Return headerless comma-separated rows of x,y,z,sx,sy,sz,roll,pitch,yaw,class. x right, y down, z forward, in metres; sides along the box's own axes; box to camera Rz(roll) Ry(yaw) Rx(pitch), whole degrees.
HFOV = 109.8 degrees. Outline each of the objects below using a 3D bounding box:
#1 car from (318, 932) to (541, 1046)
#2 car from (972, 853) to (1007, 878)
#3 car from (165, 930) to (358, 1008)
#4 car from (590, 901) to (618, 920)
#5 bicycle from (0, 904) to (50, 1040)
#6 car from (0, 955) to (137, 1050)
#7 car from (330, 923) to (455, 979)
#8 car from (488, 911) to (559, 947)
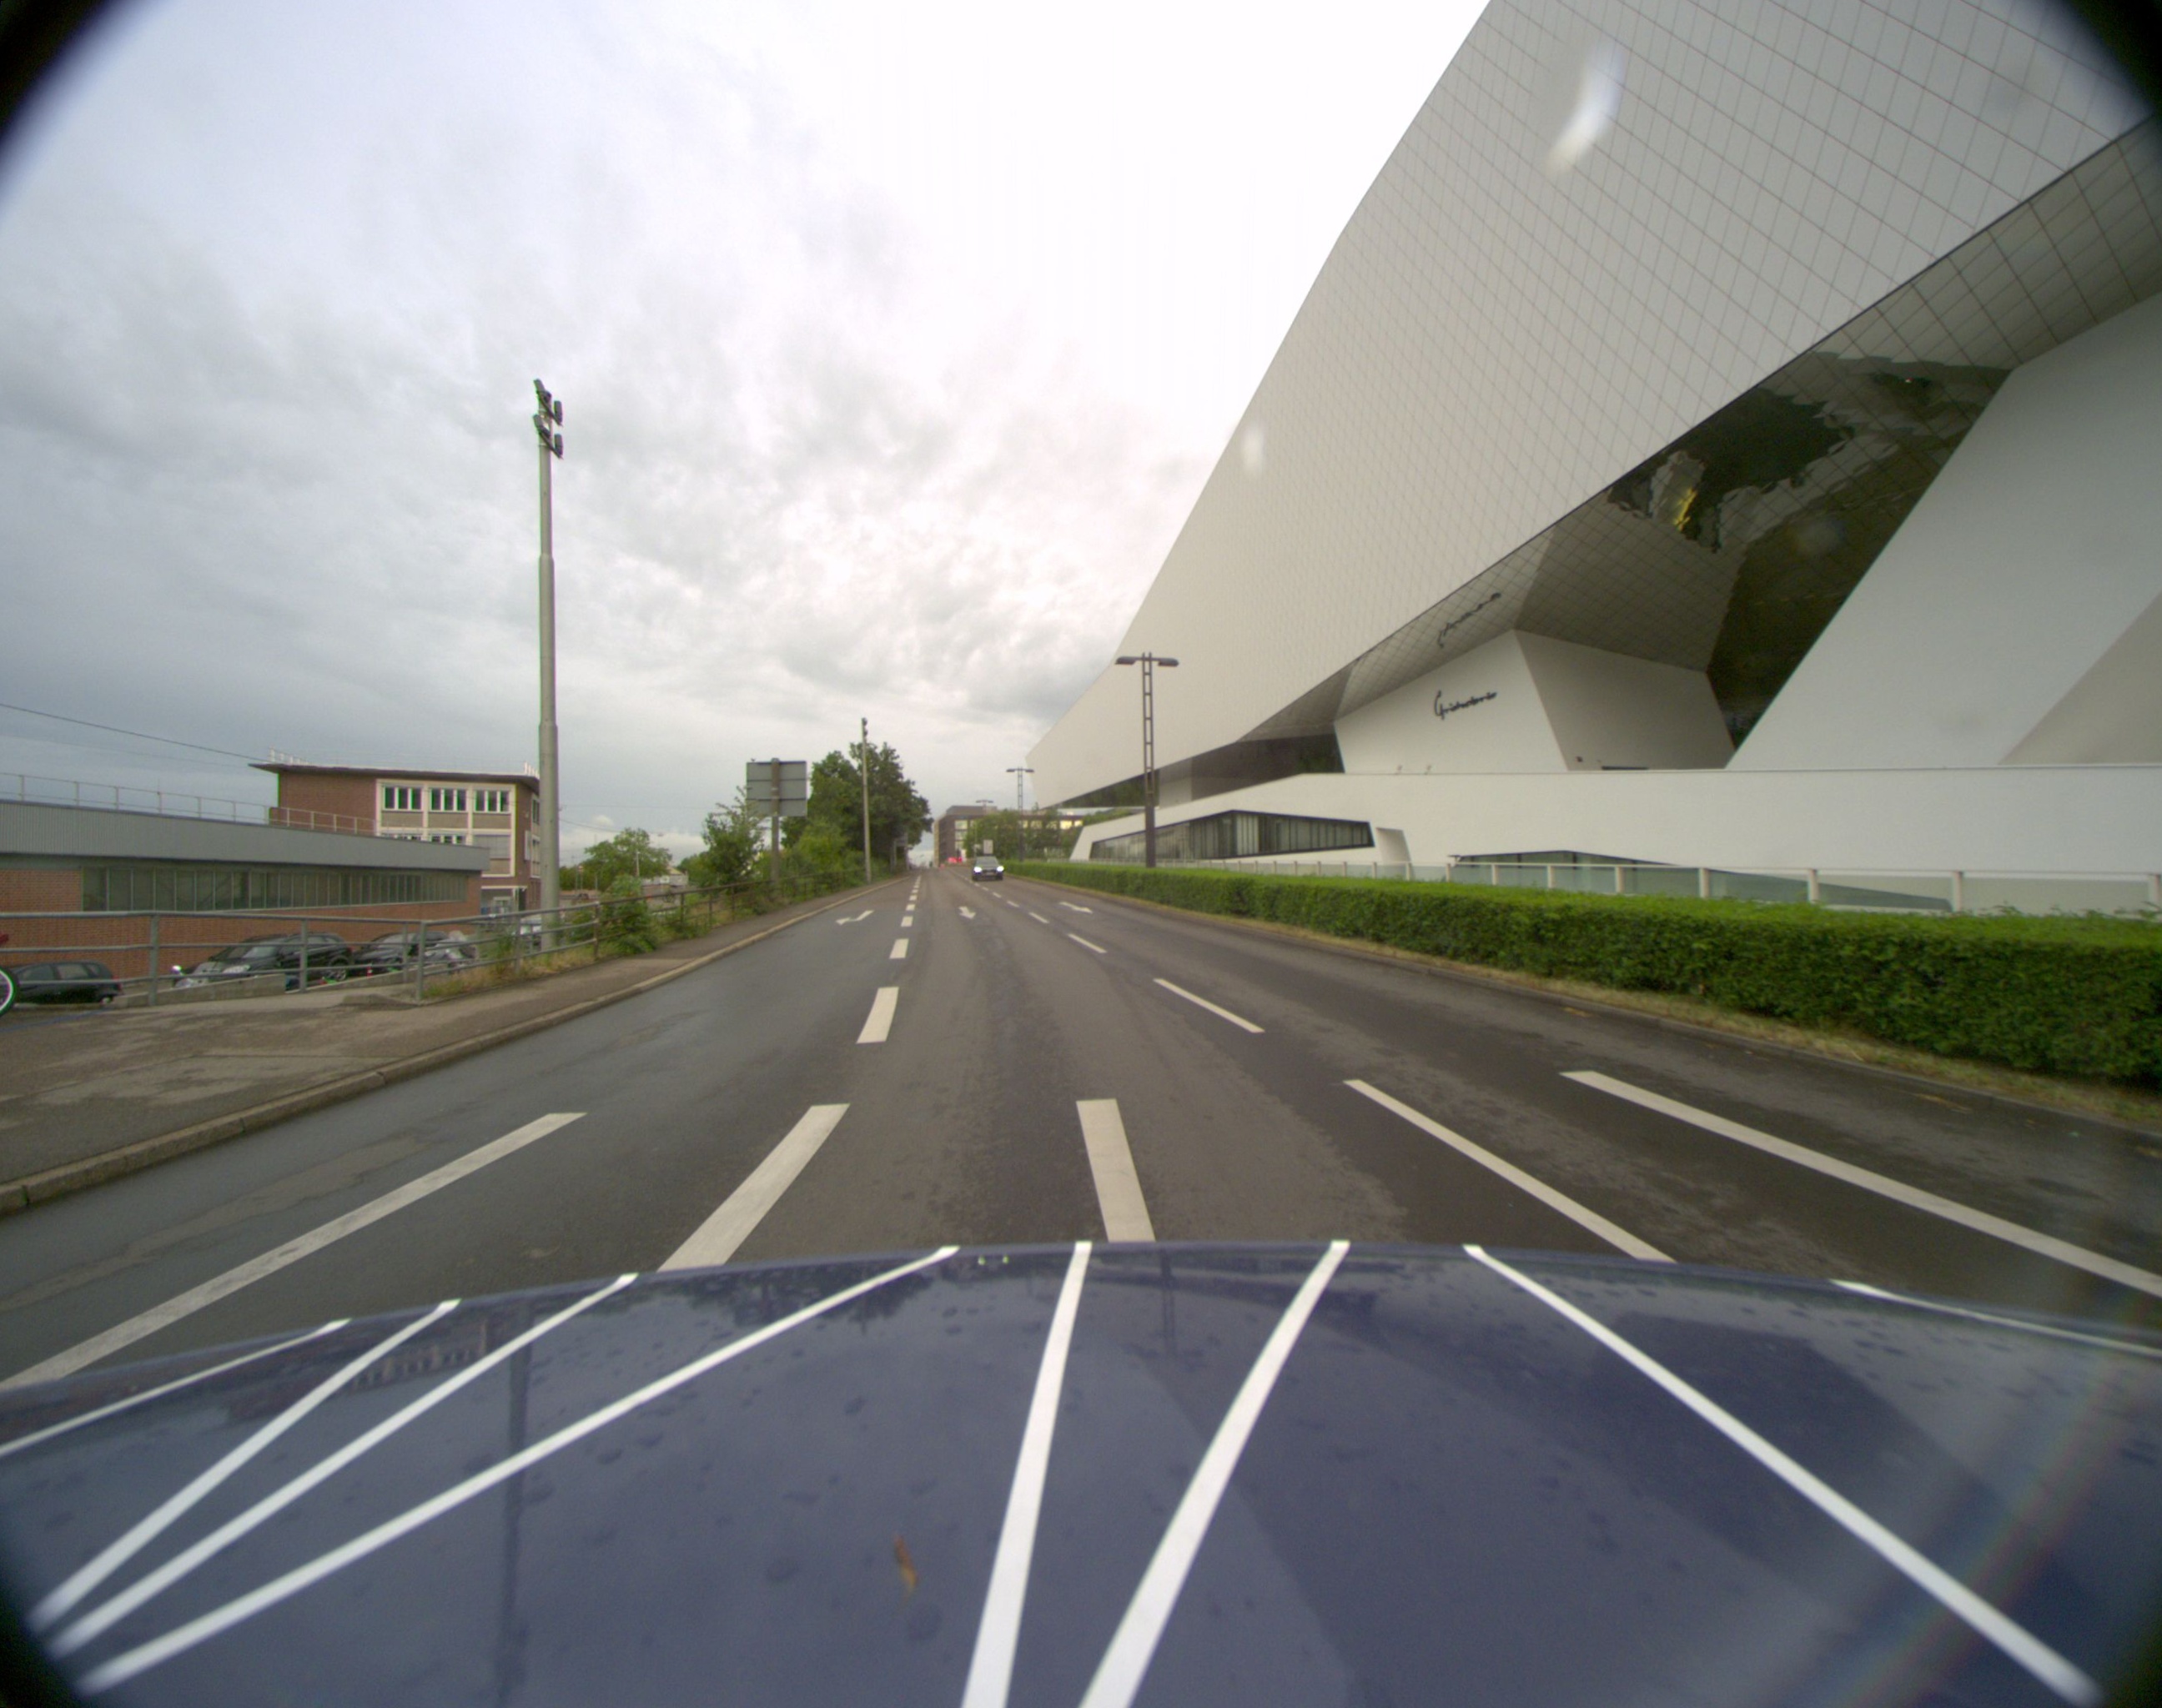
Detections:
-12.800,2.561,15.288,1.704,1.546,3.853,-1,0,-12,car
-6.098,0.748,50.194,1.843,1.574,4.284,-1,0,-13,car
-24.298,3.337,22.802,1.638,1.621,4.425,-1,0,-12,car
-41.961,4.914,66.895,1.670,1.387,3.992,-2,0,-27,car
-10.565,1.068,6.534,1.935,1.171,0.598,0,1,-26,bicycle
-23.236,3.248,16.211,1.704,1.618,3.927,-1,0,-11,car
-25.655,3.559,28.509,1.704,1.546,3.853,-1,0,-12,car
-30.271,4.036,41.399,1.704,1.546,3.852,-1,0,-14,car
